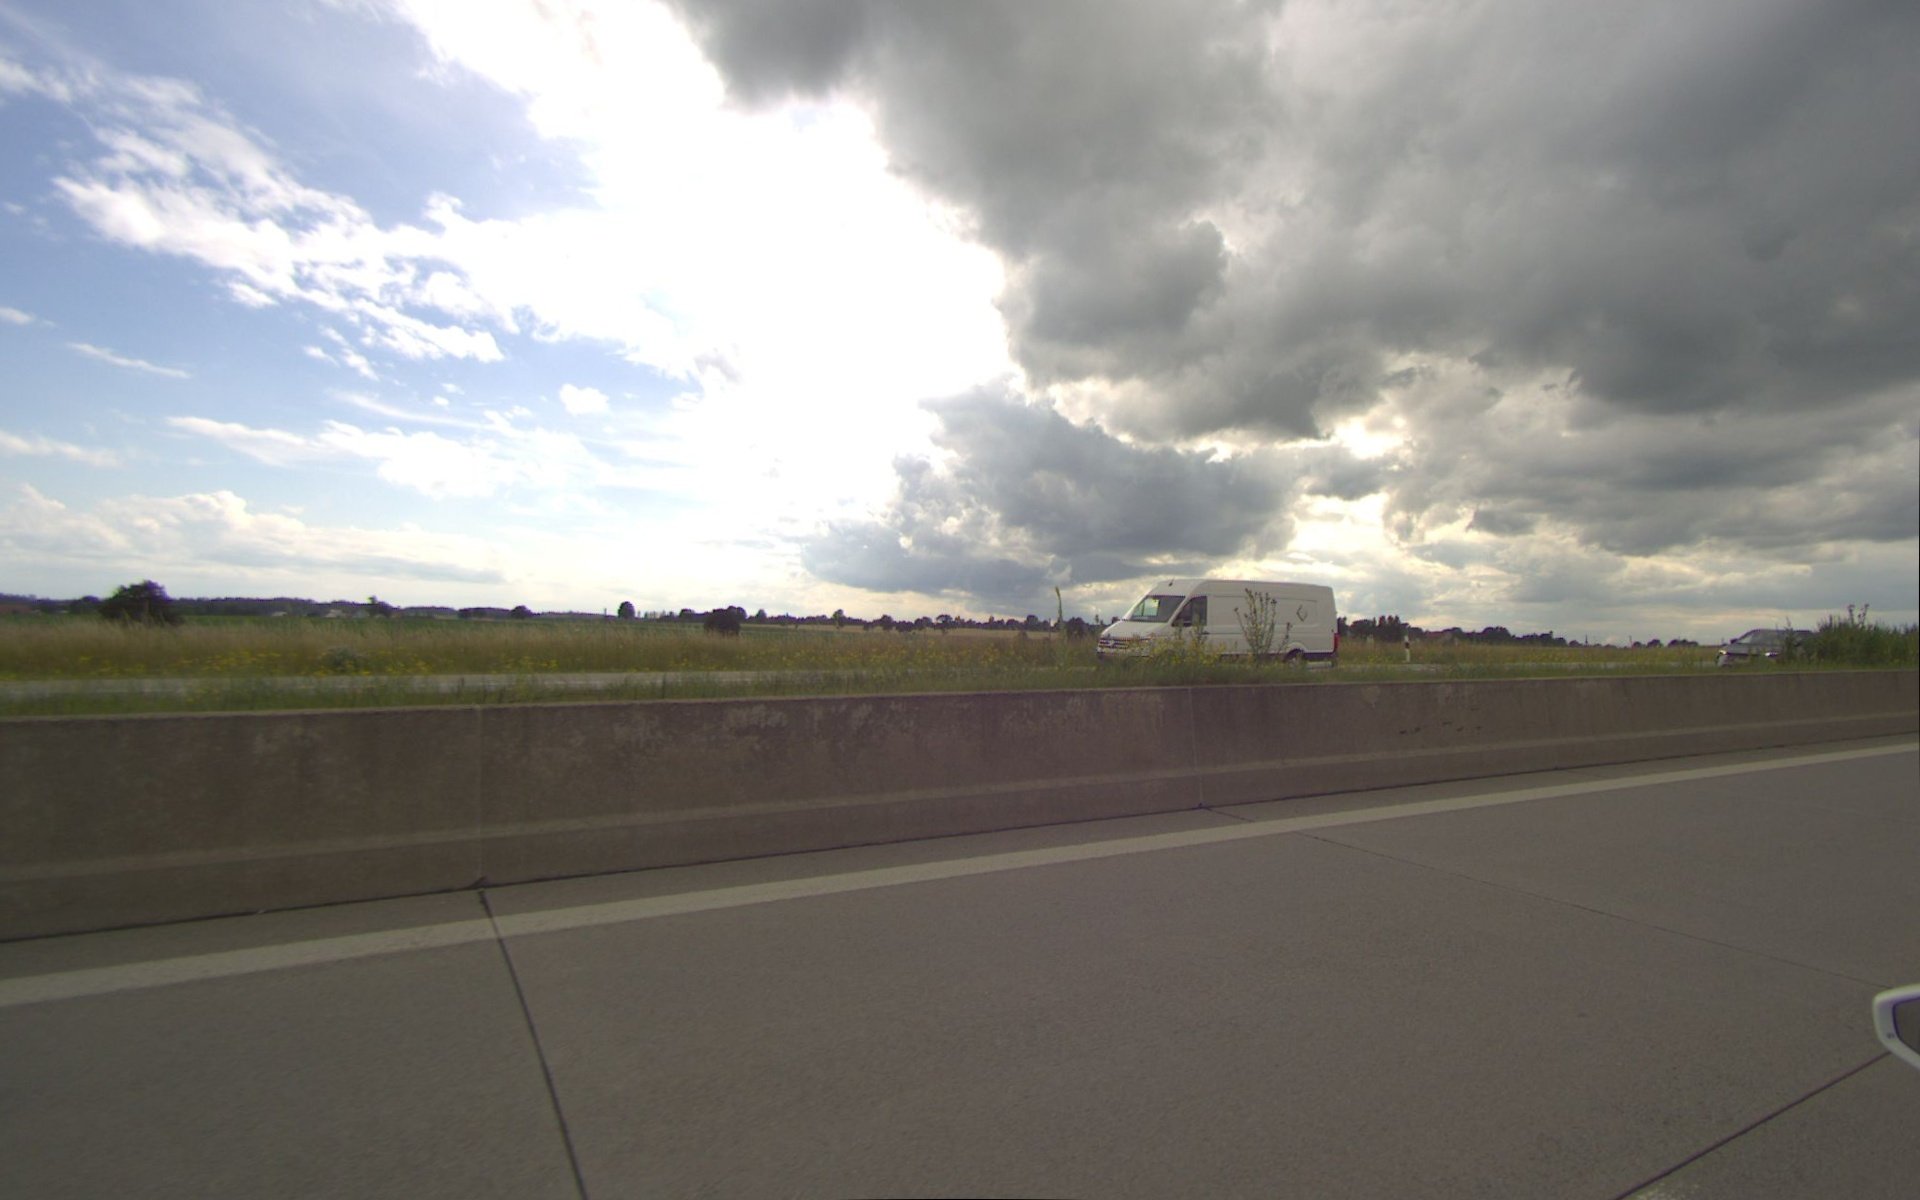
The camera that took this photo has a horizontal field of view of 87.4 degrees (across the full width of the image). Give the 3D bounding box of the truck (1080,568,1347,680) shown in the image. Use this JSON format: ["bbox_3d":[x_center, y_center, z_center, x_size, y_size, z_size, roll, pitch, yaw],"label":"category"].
[{"bbox_3d":[6.753,0.698,26.244,7.362,2.600,2.134,3,-1,-31],"label":"truck"}]

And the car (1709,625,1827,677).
[{"bbox_3d":[26.557,1.660,32.978,4.173,1.588,1.648,2,-1,-30],"label":"car"}]
